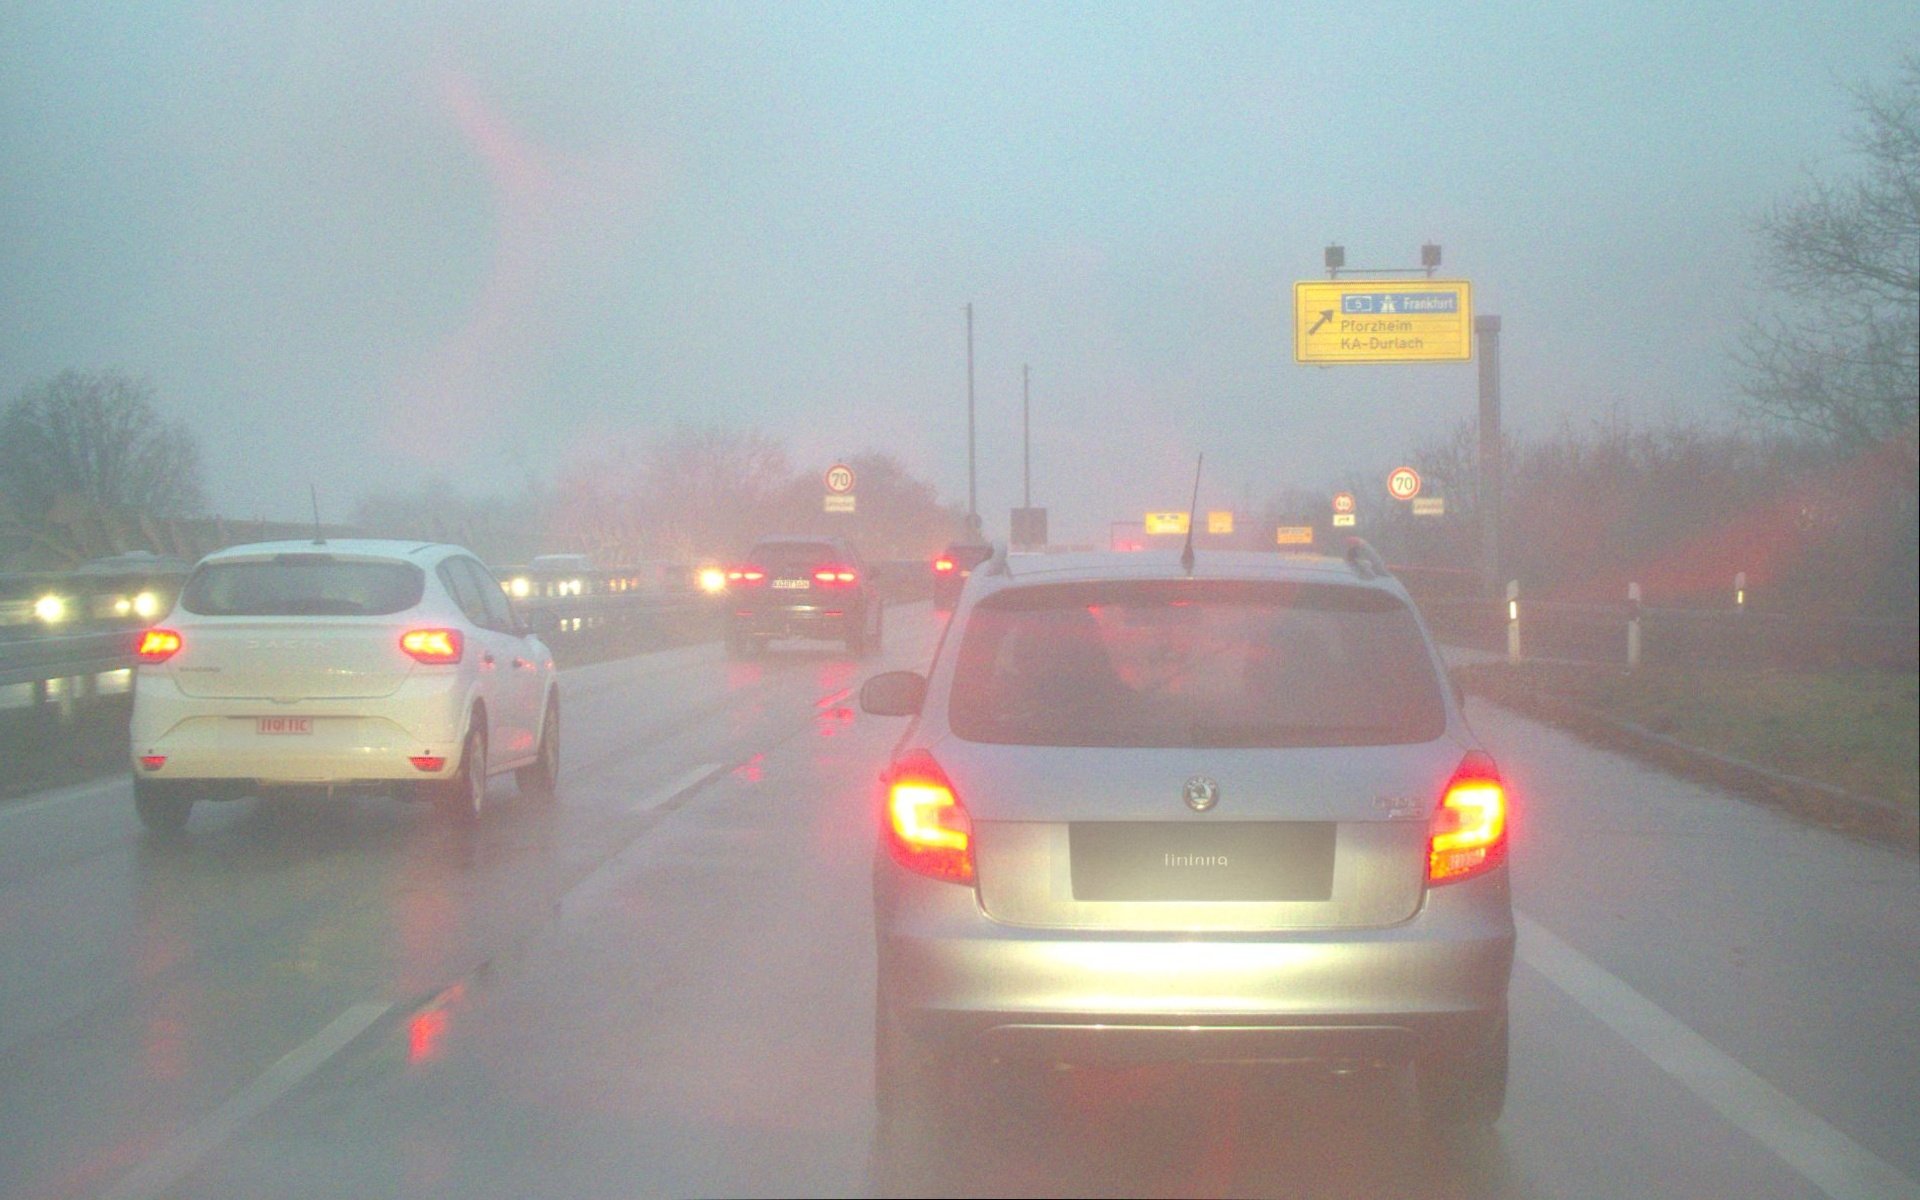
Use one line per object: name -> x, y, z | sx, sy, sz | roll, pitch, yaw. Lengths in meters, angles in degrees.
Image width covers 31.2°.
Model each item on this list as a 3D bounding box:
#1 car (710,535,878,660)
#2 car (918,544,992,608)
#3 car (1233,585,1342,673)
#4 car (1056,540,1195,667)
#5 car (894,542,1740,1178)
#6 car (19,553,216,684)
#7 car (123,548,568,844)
car -> -2.234, -0.067, 47.376 | 1.993, 1.596, 4.308 | 1, 1, 1
car -> -0.136, -0.617, 84.908 | 1.789, 1.540, 4.000 | 0, 1, 0
car -> 6.195, 0.526, 65.289 | 1.789, 1.540, 4.000 | -1, 1, 2
car -> 2.357, 0.010, 49.893 | 1.897, 1.761, 4.308 | 0, 1, 1
car -> 0.871, 0.596, 10.215 | 1.993, 1.495, 4.138 | 0, 1, 1
car -> -13.094, 0.247, 53.703 | 1.993, 1.911, 4.287 | 1, 1, 0
car -> -3.258, 0.440, 18.997 | 1.724, 1.435, 4.226 | 0, 1, 0
